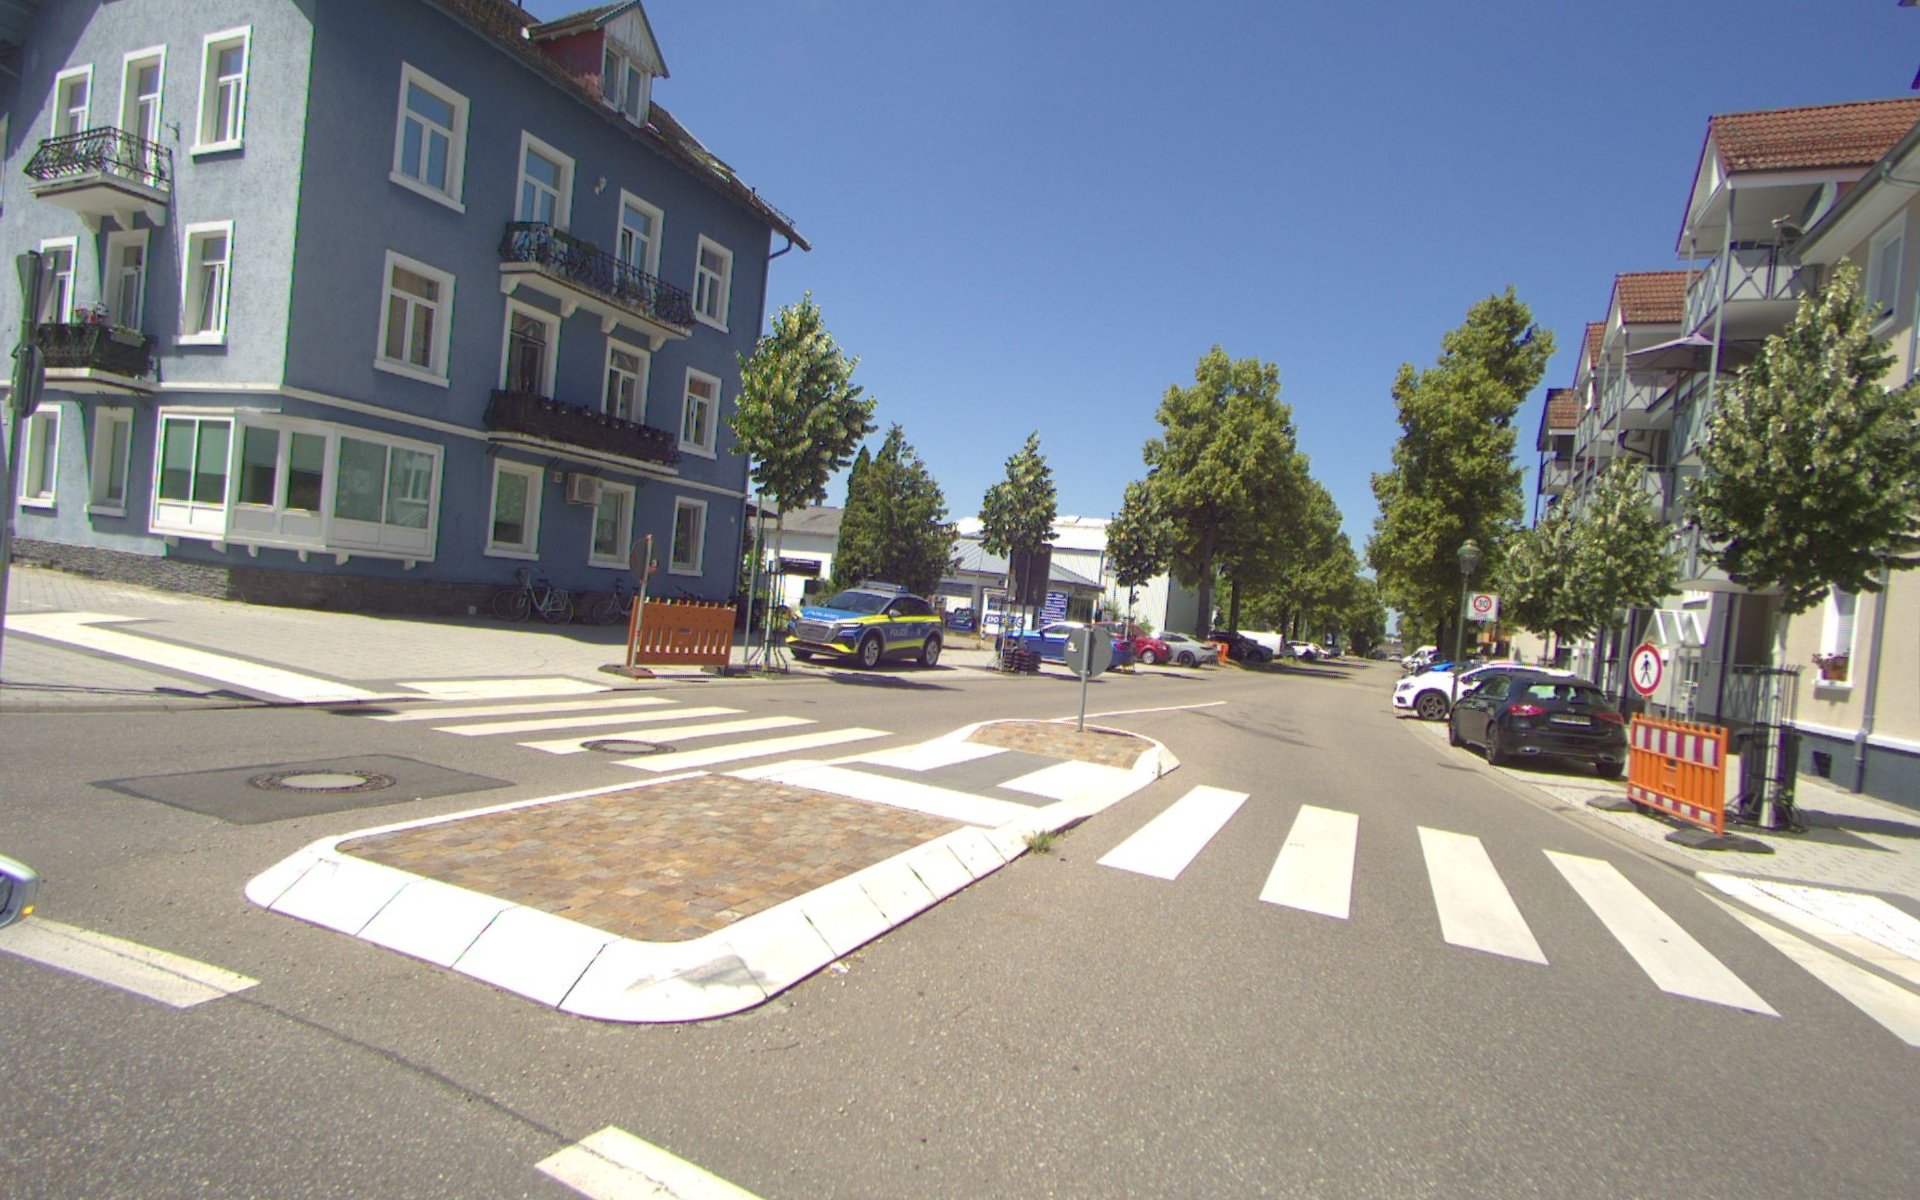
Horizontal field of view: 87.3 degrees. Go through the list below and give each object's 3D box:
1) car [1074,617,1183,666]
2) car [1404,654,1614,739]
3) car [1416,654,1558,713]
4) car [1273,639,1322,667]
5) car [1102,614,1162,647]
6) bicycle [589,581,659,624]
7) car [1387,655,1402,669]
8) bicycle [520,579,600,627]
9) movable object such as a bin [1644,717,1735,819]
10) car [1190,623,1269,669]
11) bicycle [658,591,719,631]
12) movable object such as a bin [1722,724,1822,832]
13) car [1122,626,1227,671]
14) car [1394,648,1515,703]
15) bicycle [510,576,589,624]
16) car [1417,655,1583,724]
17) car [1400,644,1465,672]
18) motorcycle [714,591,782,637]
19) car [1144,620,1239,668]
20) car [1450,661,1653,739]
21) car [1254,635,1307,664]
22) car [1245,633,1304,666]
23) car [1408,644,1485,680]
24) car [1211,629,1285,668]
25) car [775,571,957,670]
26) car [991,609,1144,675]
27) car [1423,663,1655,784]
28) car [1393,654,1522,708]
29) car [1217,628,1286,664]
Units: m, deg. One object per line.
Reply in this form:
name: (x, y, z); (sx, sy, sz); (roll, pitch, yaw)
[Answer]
car: (6.942, 1.703, 41.366); (3.929, 1.549, 1.998); (6, 0, 25)
car: (13.134, 2.273, 24.360); (4.220, 1.542, 1.904); (4, -1, 26)
car: (18.383, 2.879, 35.314); (4.220, 1.595, 1.904); (4, -1, 26)
car: (30.070, 4.697, 89.604); (3.926, 1.885, 1.997); (6, 2, 20)
car: (12.999, 2.334, 76.015); (3.929, 1.882, 1.999); (7, -1, 27)
bicycle: (-8.187, 0.077, 24.583); (0.472, 0.918, 1.711); (8, 0, 26)
car: (70.277, 10.019, 162.621); (1.963, 2.038, 3.998); (6, 0, 22)
bicycle: (-8.839, 0.079, 22.301); (0.432, 0.918, 1.711); (8, 0, 26)
movable object such as a bin: (8.685, 1.983, 12.001); (0.658, 1.068, 0.704); (4, 0, 21)
car: (15.058, 2.574, 56.238); (3.926, 2.037, 2.001); (6, -1, 20)
bicycle: (-7.197, 0.299, 26.729); (0.472, 0.918, 1.711); (8, 0, 26)
movable object such as a bin: (9.345, 2.030, 11.602); (0.630, 1.068, 0.704); (5, 0, 21)
car: (9.211, 2.070, 43.173); (3.929, 1.465, 1.998); (6, 0, 25)
car: (20.153, 3.048, 41.151); (4.220, 1.662, 1.904); (6, 0, 26)
bicycle: (-9.191, 0.021, 22.601); (0.432, 0.918, 1.711); (8, 0, 26)
car: (16.265, 2.668, 30.576); (4.220, 1.595, 1.904); (4, -1, 26)
car: (44.024, 5.395, 93.889); (5.178, 2.039, 2.236); (6, 0, 23)
motorcycle: (-5.742, 0.401, 27.357); (0.577, 1.065, 1.903); (8, 1, 29)
car: (11.198, 2.129, 48.665); (3.931, 1.805, 1.997); (7, 1, 29)
car: (14.911, 2.486, 25.677); (4.220, 1.454, 1.904); (4, -1, 26)
car: (26.851, 4.124, 84.257); (3.926, 1.885, 1.997); (6, 2, 20)
car: (23.099, 3.620, 73.934); (3.926, 1.885, 1.997); (6, 2, 20)
car: (34.751, 4.424, 72.046); (4.657, 2.039, 1.999); (6, 0, 23)
car: (17.471, 2.898, 61.066); (3.929, 1.885, 1.996); (6, 3, 25)
car: (-1.920, 0.512, 21.945); (1.872, 1.765, 4.246); (7, 0, 26)
car: (3.426, 1.342, 32.003); (4.388, 1.496, 1.908); (6, -3, 22)
car: (9.302, 1.907, 16.603); (1.869, 1.454, 4.174); (4, -1, 9)
car: (18.914, 3.031, 38.397); (4.220, 1.595, 1.904); (4, -1, 26)
car: (19.280, 3.030, 66.518); (3.929, 1.885, 1.996); (6, 3, 25)
